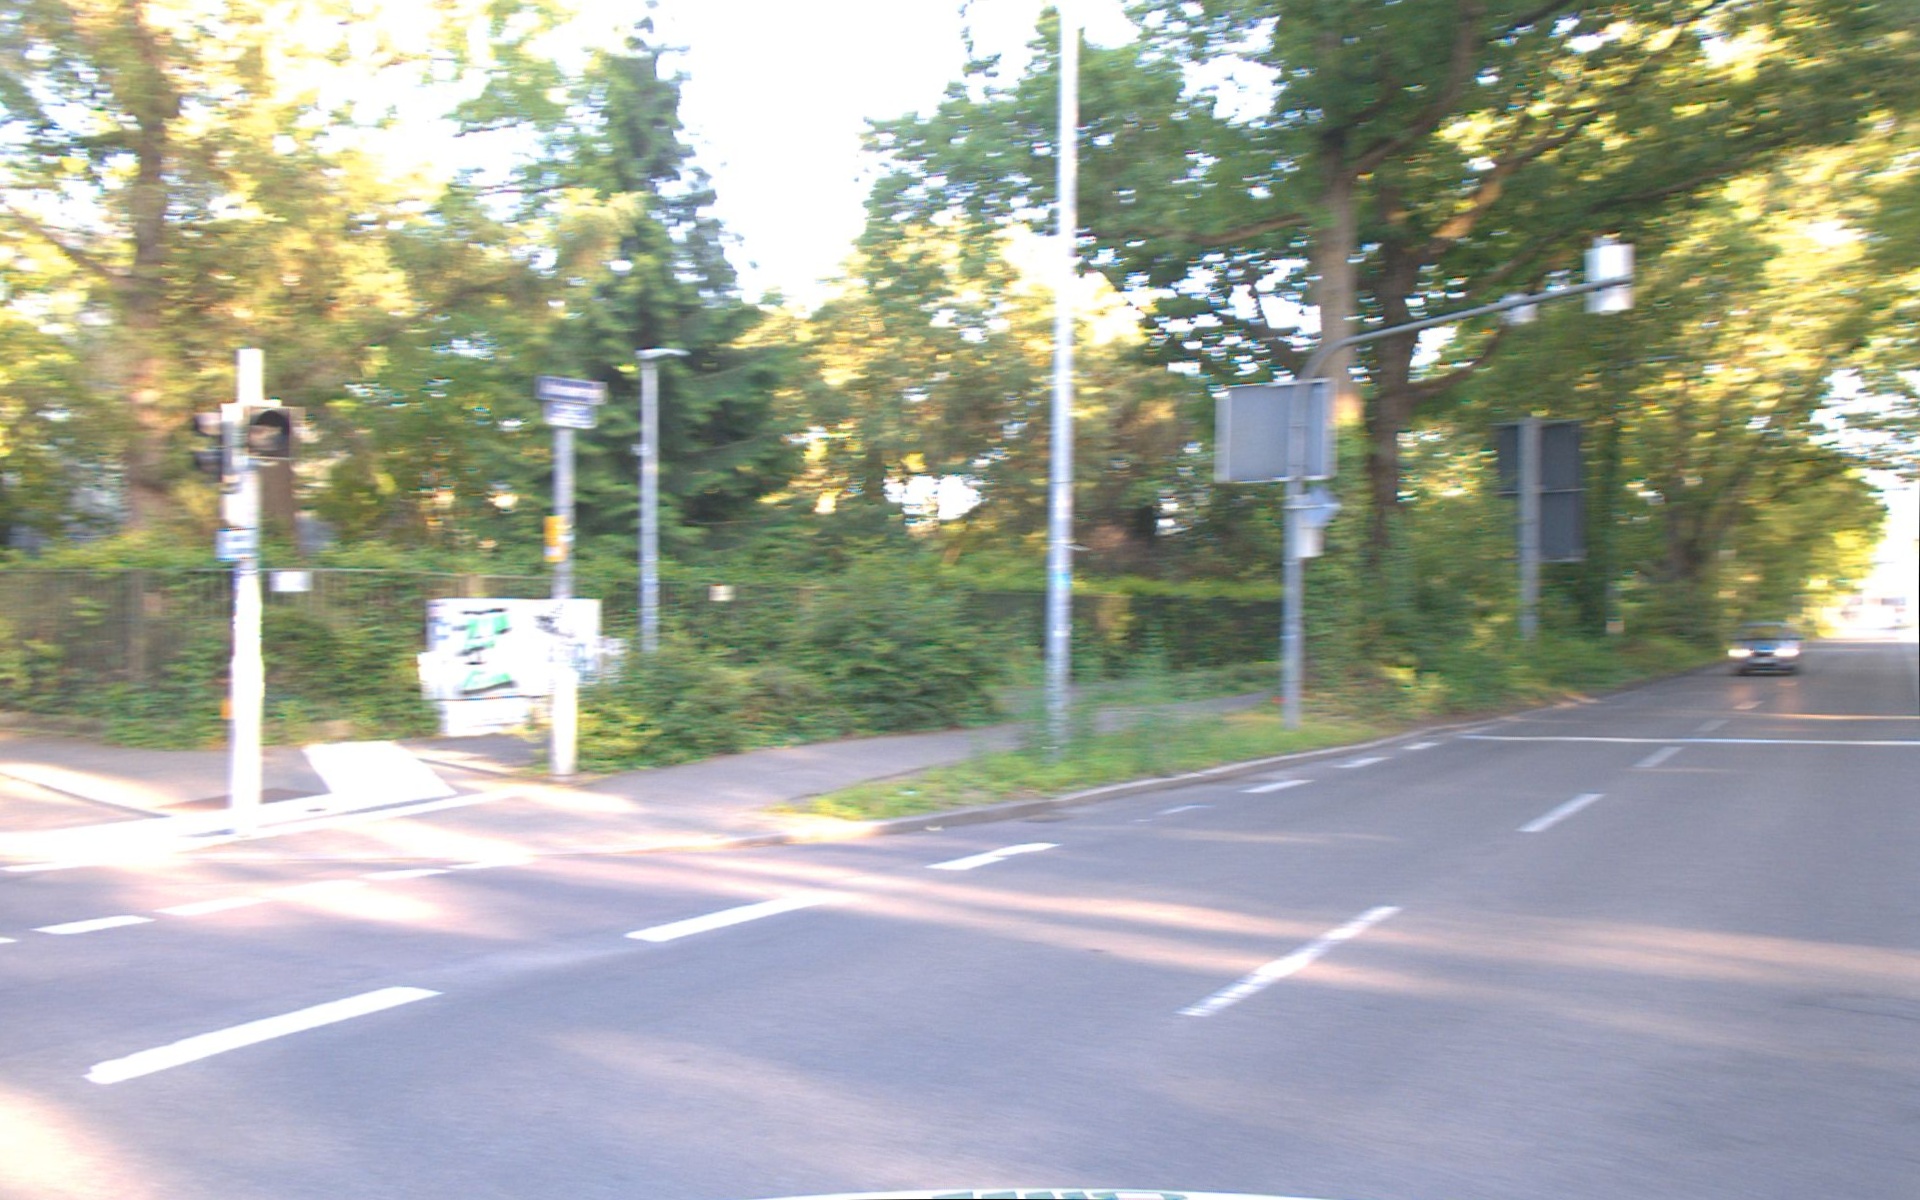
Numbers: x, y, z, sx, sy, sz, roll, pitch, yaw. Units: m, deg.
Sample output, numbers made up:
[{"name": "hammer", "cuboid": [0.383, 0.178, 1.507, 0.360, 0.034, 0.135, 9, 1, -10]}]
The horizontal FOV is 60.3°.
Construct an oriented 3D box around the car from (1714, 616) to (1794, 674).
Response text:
[{"name": "car", "cuboid": [23.222, 1.291, 48.297, 1.773, 1.608, 4.311, -2, -2, 29]}]
